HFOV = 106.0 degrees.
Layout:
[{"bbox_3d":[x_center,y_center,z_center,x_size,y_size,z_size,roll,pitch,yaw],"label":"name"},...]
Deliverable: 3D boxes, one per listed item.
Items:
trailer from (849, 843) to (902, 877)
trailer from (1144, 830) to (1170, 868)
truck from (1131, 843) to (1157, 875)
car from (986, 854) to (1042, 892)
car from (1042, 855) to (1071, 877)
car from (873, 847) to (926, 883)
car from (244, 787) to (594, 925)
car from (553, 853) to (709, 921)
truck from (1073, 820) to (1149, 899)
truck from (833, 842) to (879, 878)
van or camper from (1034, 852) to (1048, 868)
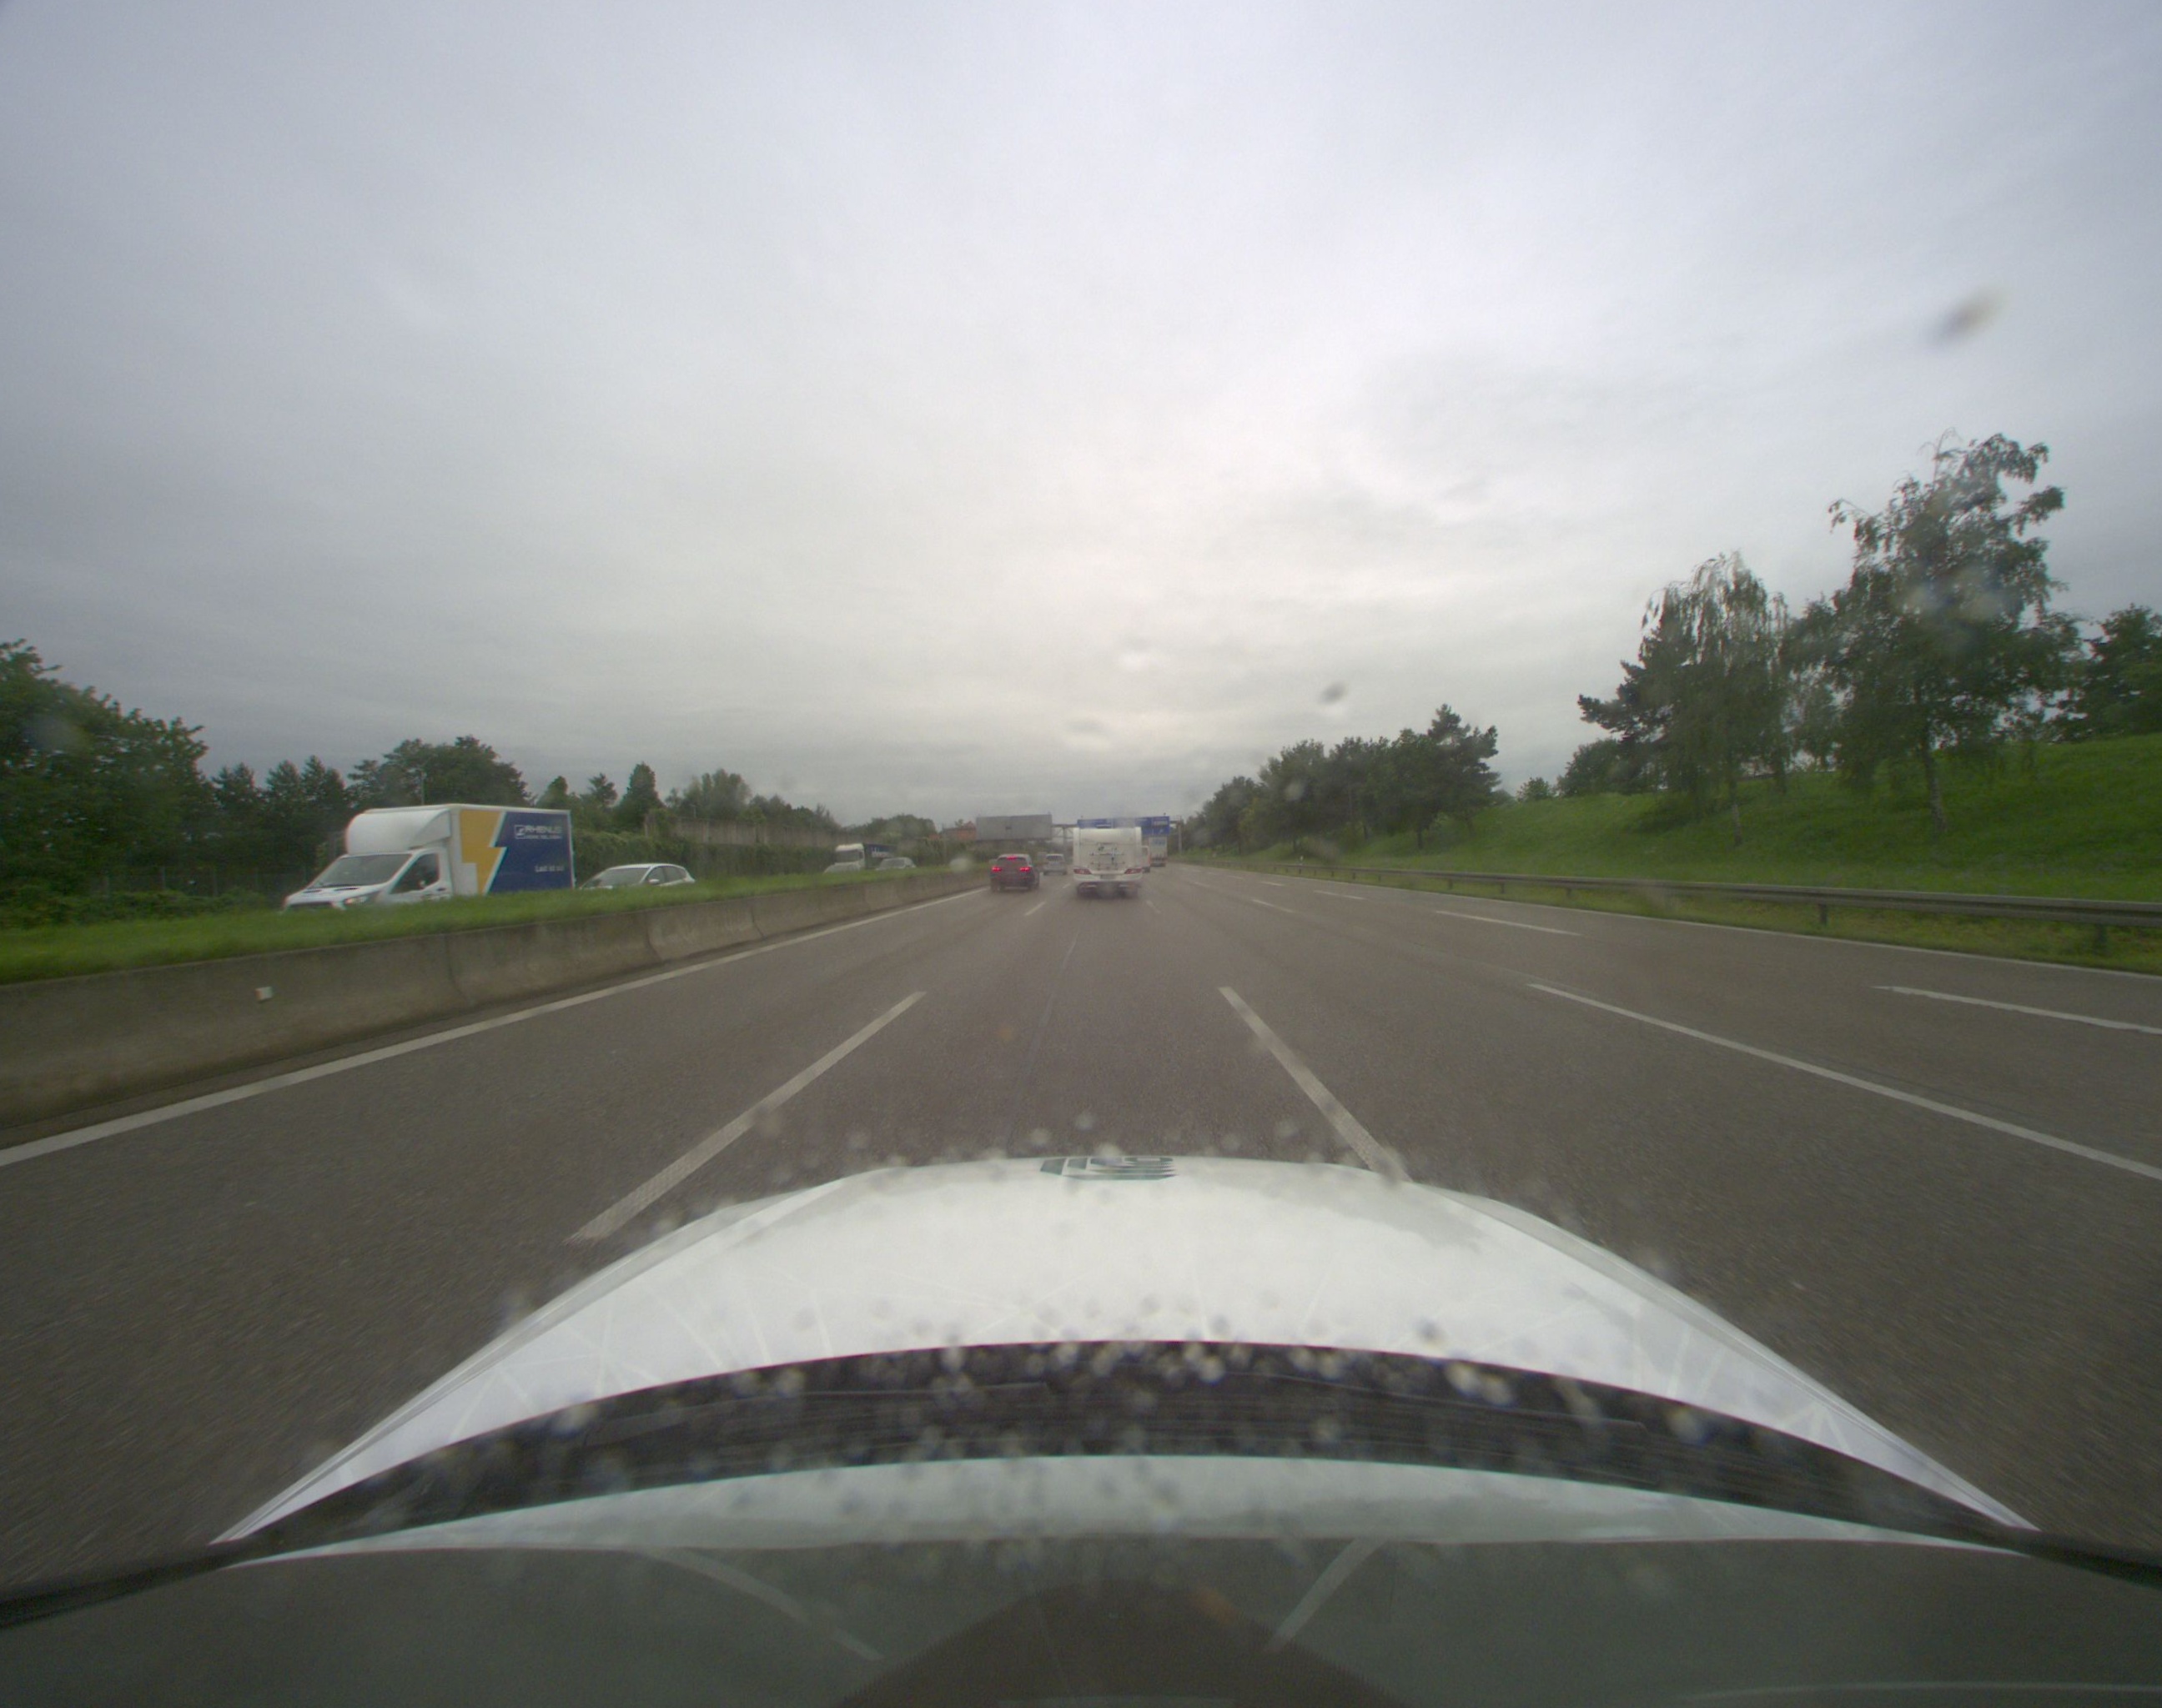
[{"bbox_3d":[-20.810,0.632,83.112,2.297,3.290,10.569,0,0,3],"label":"trailer"},{"bbox_3d":[10.399,-0.642,112.444,3.087,4.922,11.797,0,0,3],"label":"trailer"},{"bbox_3d":[5.754,0.467,74.516,2.046,2.770,5.550,0,0,1],"label":"truck"},{"bbox_3d":[-2.950,0.837,36.998,1.986,1.600,5.124,0,0,1],"label":"car"},{"bbox_3d":[-1.984,0.960,67.093,2.120,1.706,4.113,0,0,1],"label":"car"},{"bbox_3d":[-10.818,0.616,48.924,2.113,2.013,4.519,-1,0,0],"label":"car"},{"bbox_3d":[-15.398,0.068,19.893,2.313,2.734,7.320,0,0,2],"label":"car"},{"bbox_3d":[-11.999,0.820,22.074,1.815,1.662,4.150,0,0,1],"label":"car"},{"bbox_3d":[1.109,0.213,31.132,2.651,2.742,5.078,0,0,1],"label":"truck"},{"bbox_3d":[-21.130,0.561,76.812,2.307,3.273,6.586,0,0,2],"label":"truck"},{"bbox_3d":[-10.049,1.474,205.112,2.697,3.948,8.405,0,0,2],"label":"van or camper"}]
